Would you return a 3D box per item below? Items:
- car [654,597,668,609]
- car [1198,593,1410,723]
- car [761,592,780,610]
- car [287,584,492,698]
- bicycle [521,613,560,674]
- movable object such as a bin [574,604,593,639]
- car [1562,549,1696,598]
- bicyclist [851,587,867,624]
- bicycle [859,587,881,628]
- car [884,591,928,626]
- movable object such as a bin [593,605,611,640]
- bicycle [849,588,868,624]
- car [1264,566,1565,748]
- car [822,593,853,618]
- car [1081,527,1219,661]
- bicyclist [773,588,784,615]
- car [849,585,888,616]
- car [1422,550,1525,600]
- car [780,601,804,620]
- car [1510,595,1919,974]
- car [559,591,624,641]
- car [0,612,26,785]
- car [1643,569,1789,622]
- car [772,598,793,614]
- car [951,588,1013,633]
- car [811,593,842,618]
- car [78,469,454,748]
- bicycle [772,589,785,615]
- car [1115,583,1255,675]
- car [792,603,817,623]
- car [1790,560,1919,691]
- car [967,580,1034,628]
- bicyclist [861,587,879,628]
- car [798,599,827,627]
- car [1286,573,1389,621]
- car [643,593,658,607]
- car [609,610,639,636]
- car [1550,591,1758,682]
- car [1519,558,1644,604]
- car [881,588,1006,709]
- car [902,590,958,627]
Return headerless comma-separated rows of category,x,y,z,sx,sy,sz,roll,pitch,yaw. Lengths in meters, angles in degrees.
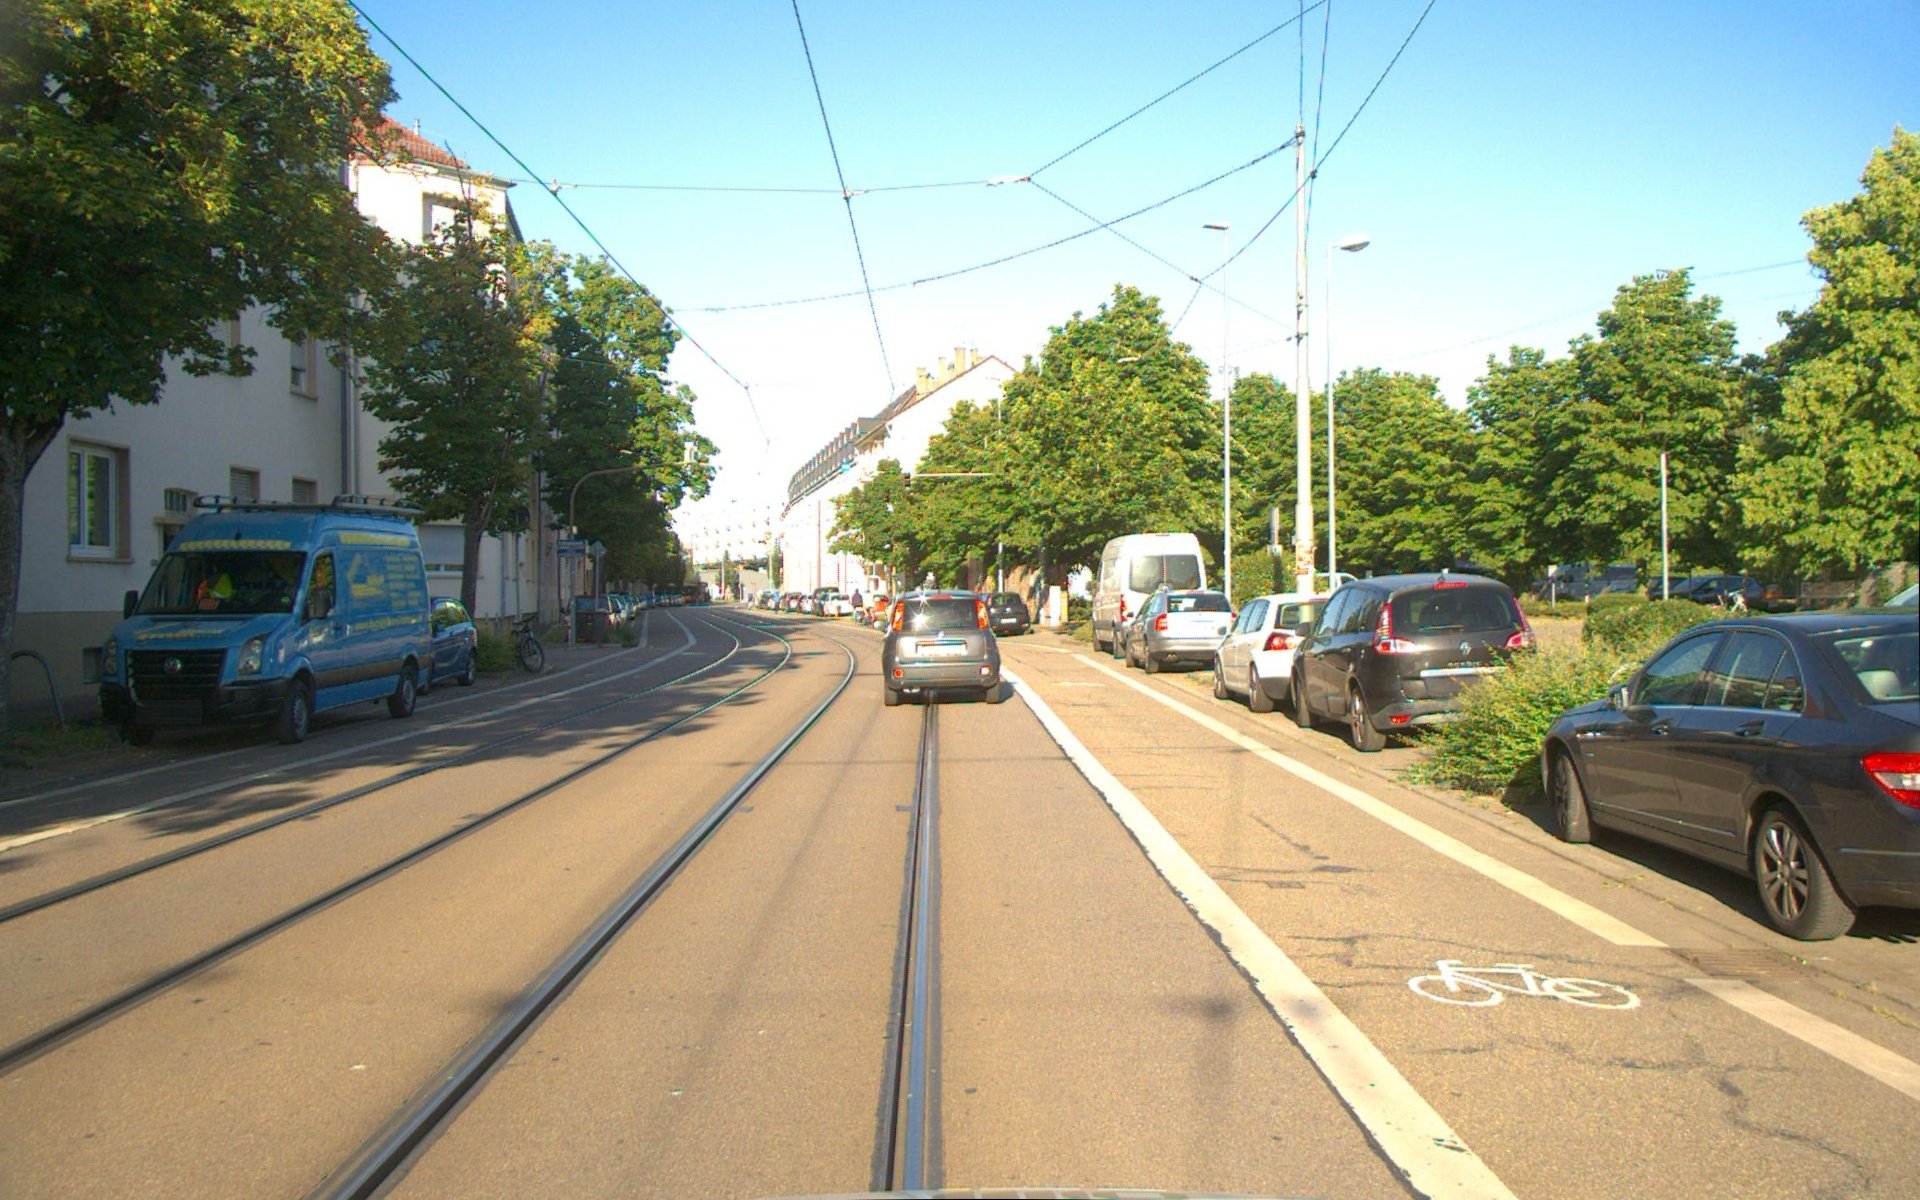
car,-37.700,0.342,208.658,1.676,1.523,3.713,1,0,-10
car,4.424,0.694,21.930,1.693,1.538,4.249,1,0,-3
car,-18.370,0.092,160.336,1.555,1.627,3.367,1,0,-12
car,-9.346,0.620,27.517,1.755,1.587,4.641,5,0,-1
bicycle,-8.291,0.843,32.719,0.502,1.154,2.028,1,0,-8
movable object such as a bin,-11.108,0.634,48.775,0.475,1.005,0.658,1,0,-8
car,26.468,-1.015,65.479,4.596,1.847,1.958,1,0,-10
bicyclist,-5.081,0.274,82.834,0.687,1.790,0.755,1,0,-12
bicycle,-3.994,0.310,73.405,0.663,1.777,2.151,1,0,-11
car,-2.585,0.373,78.509,1.657,1.556,3.993,-2,0,-7
movable object such as a bin,-10.581,0.660,48.911,0.475,1.005,0.658,1,0,-8
bicycle,-5.097,0.278,82.881,0.663,1.777,2.151,1,0,-11
car,4.523,0.523,17.140,1.693,1.632,4.339,1,0,-3
car,-7.871,0.350,106.080,1.626,1.599,3.489,1,0,-11
car,4.224,-0.129,37.829,2.136,2.712,6.088,-3,0,-2
bicyclist,-14.151,0.126,128.971,0.702,2.049,0.829,1,0,-12
car,-4.882,0.035,88.163,1.606,1.534,3.388,-3,1,-10
car,24.178,-1.159,77.964,4.115,2.280,2.136,-1,0,-13
car,-13.889,0.819,136.385,1.555,1.429,3.367,-4,1,-12
car,4.518,0.735,8.452,1.693,1.489,4.495,1,0,-3
car,-11.916,0.500,53.614,1.656,1.557,3.994,1,0,-7
car,-8.864,0.823,12.157,1.617,1.450,4.189,1,0,0
car,27.779,-0.162,60.866,4.596,1.847,1.958,1,0,-10
car,-15.927,0.549,148.009,1.555,1.430,3.367,1,0,-12
car,0.775,0.384,61.376,1.657,1.556,4.348,-2,0,-7
car,-8.902,0.365,110.352,1.626,1.599,3.865,1,0,-11
car,-8.117,0.089,20.167,1.976,2.875,6.032,1,0,0
bicycle,-14.113,0.162,128.767,0.728,2.049,2.804,1,0,-11
car,4.139,0.502,31.121,1.872,1.556,4.599,-1,0,-2
car,-11.926,0.971,126.845,1.626,1.526,3.121,1,0,-11
car,11.770,0.295,18.983,3.628,1.424,1.758,1,0,-2
car,1.363,0.123,57.025,1.657,1.556,3.993,-2,0,-7
bicyclist,-4.020,0.322,73.508,0.687,1.790,0.755,1,0,-12
car,-10.878,0.955,121.855,1.626,1.978,4.651,1,0,-11
car,17.212,-0.137,75.584,4.198,2.049,1.771,-2,0,-7
car,-36.168,0.008,193.189,1.676,1.523,3.713,1,0,-10
car,-20.901,1.388,102.977,1.776,1.534,4.668,1,0,-11
car,8.709,0.431,20.992,1.282,1.051,3.055,1,0,-2
car,26.241,-0.787,69.847,4.596,1.847,1.958,1,0,-10
car,-0.253,0.627,23.682,1.616,1.568,4.234,0,0,-1
car,-1.375,0.369,73.475,1.660,1.556,3.986,-2,0,-13
